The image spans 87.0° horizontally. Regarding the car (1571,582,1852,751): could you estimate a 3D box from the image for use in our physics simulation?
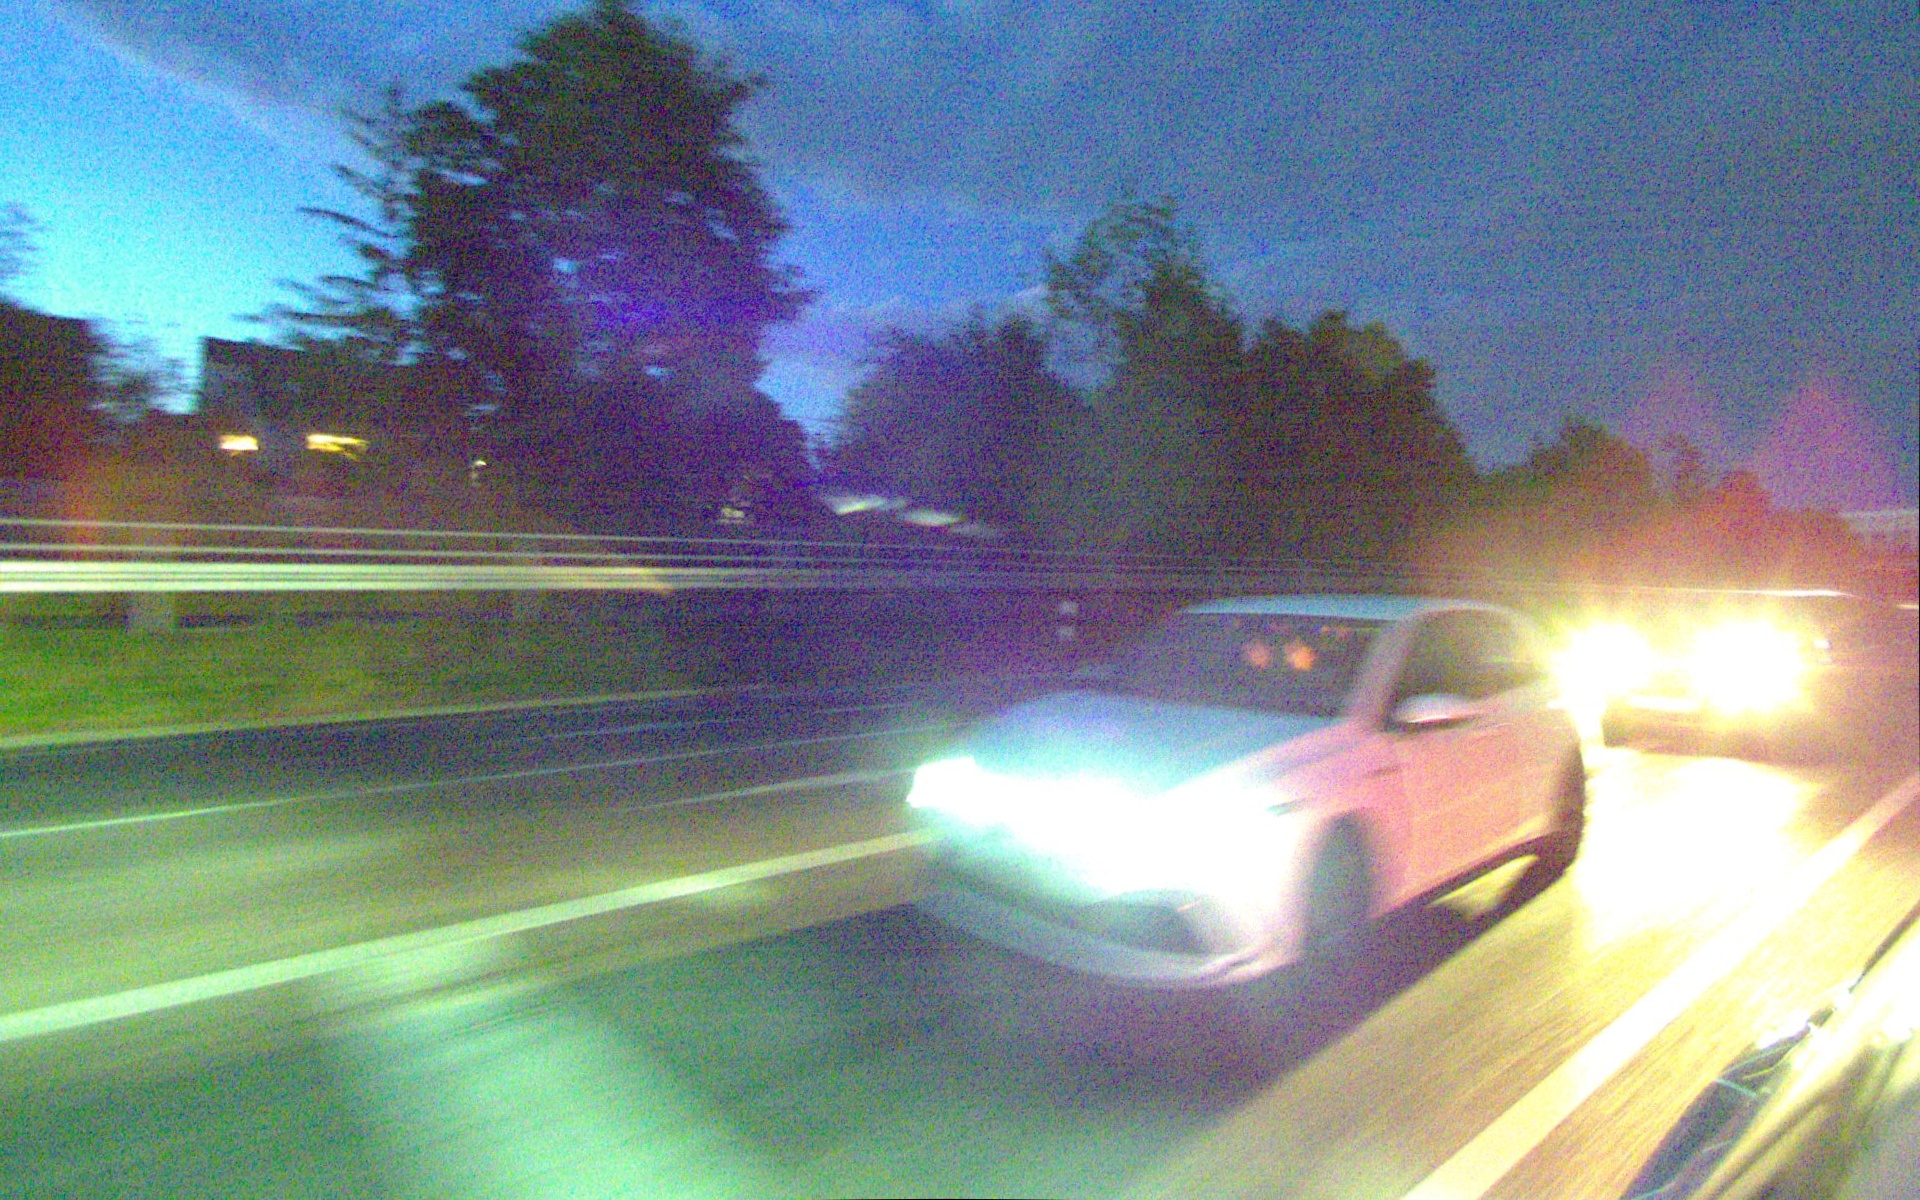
[{"bbox_3d":[7.920,0.553,10.575,3.429,1.469,1.656,0,1,-41],"label":"car"}]

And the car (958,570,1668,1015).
[{"bbox_3d":[2.116,0.613,5.386,4.119,1.477,1.761,0,1,-41],"label":"car"}]
